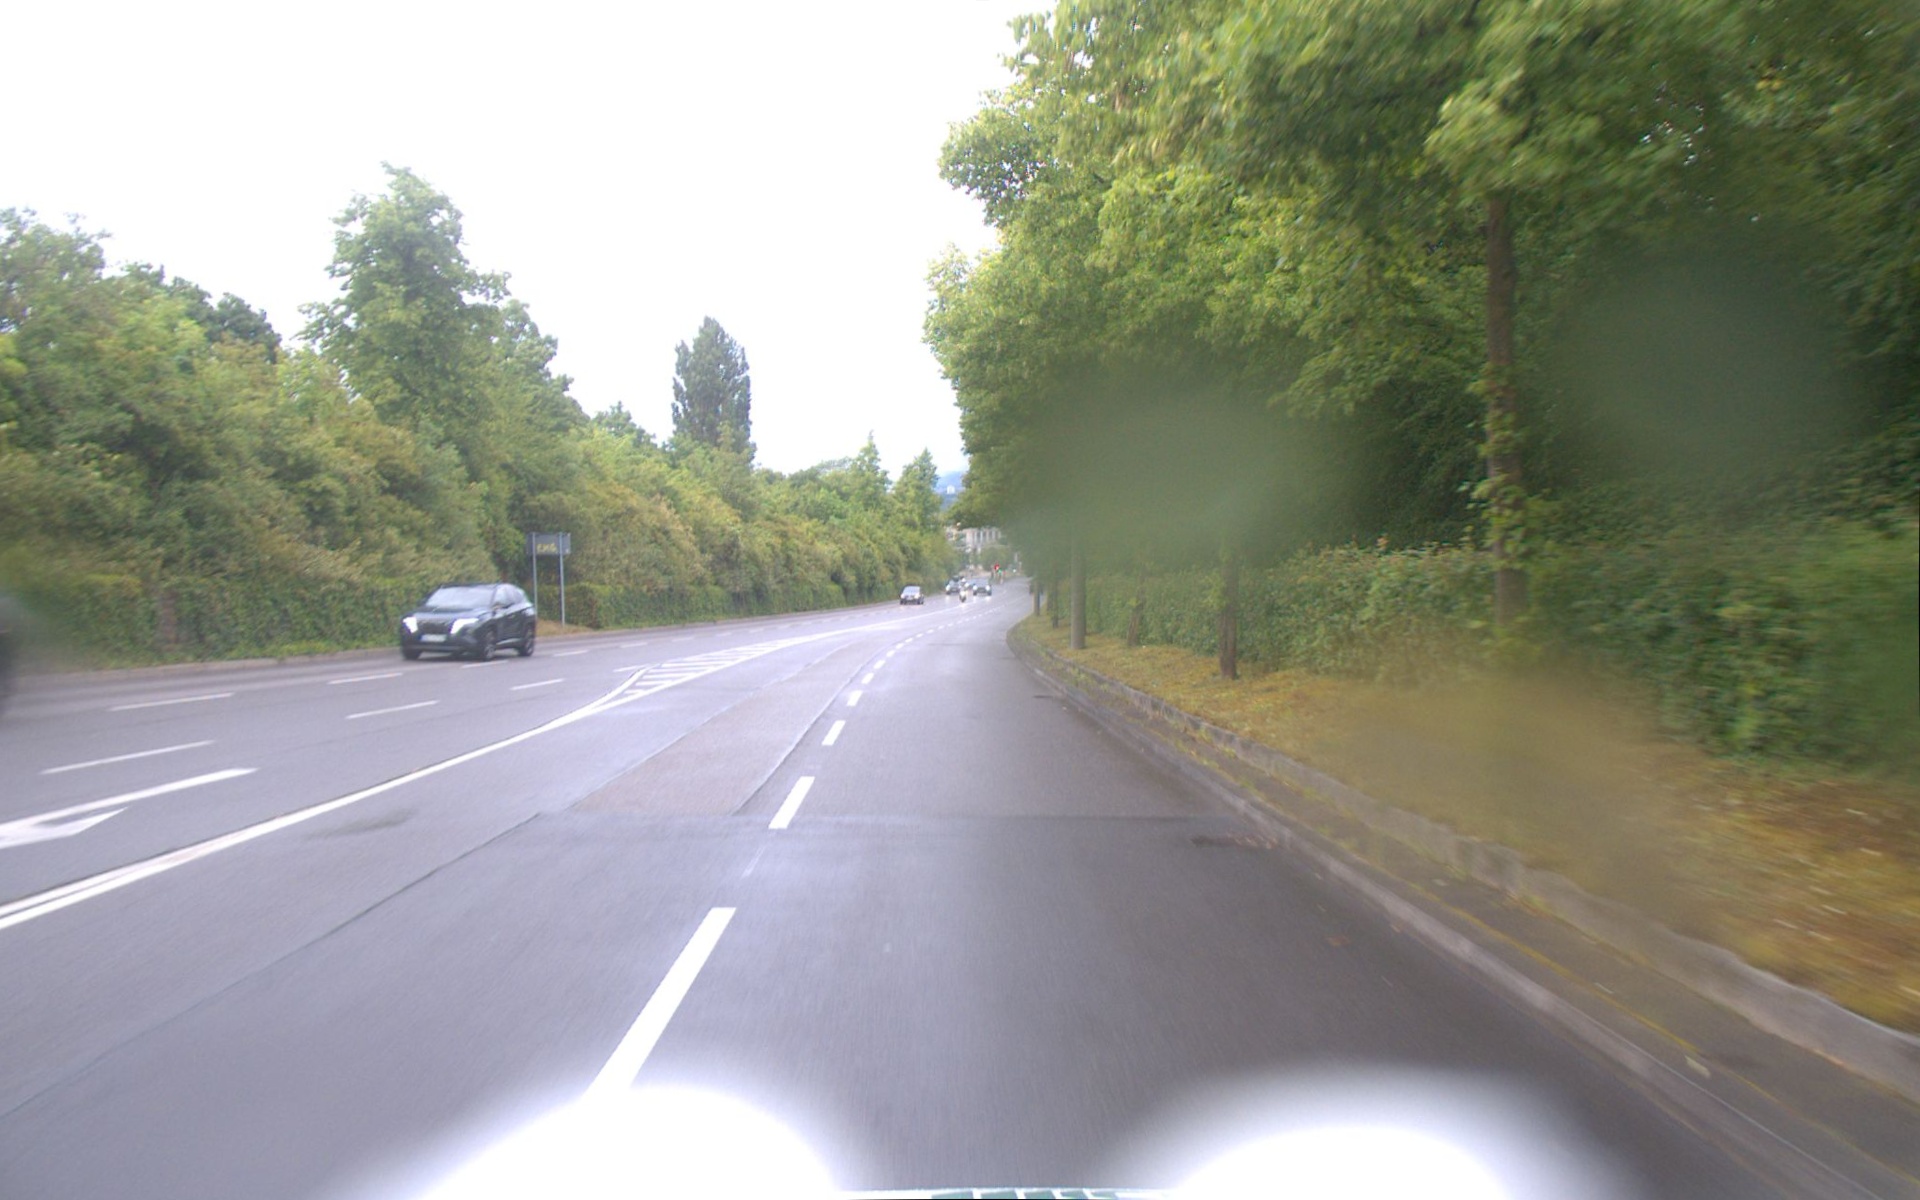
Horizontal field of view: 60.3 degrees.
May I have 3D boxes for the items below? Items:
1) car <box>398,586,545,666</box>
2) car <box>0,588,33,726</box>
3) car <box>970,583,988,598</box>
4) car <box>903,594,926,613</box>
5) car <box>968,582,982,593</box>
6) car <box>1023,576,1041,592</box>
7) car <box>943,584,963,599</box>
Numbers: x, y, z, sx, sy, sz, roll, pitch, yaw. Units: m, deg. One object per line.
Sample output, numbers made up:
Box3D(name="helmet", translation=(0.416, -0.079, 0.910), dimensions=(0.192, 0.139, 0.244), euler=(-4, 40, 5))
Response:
Box3D(name="car", translation=(-10.559, 0.510, 36.079), dimensions=(1.762, 1.634, 4.429), euler=(0, 1, 2))
Box3D(name="car", translation=(-11.241, 0.625, 16.608), dimensions=(1.640, 1.493, 3.862), euler=(0, 1, 1))
Box3D(name="car", translation=(2.107, -1.043, 184.396), dimensions=(1.774, 1.686, 4.597), euler=(0, 1, 4))
Box3D(name="car", translation=(-3.694, 0.263, 134.280), dimensions=(1.516, 1.462, 3.698), euler=(0, 0, 3))
Box3D(name="car", translation=(2.160, -1.796, 233.248), dimensions=(1.722, 1.405, 4.841), euler=(1, 2, 4))
Box3D(name="car", translation=(8.540, -1.879, 195.551), dimensions=(1.810, 1.731, 3.796), euler=(1, 0, 7))
Box3D(name="car", translation=(-0.721, -0.988, 185.354), dimensions=(1.859, 1.580, 4.633), euler=(1, 1, 4))
